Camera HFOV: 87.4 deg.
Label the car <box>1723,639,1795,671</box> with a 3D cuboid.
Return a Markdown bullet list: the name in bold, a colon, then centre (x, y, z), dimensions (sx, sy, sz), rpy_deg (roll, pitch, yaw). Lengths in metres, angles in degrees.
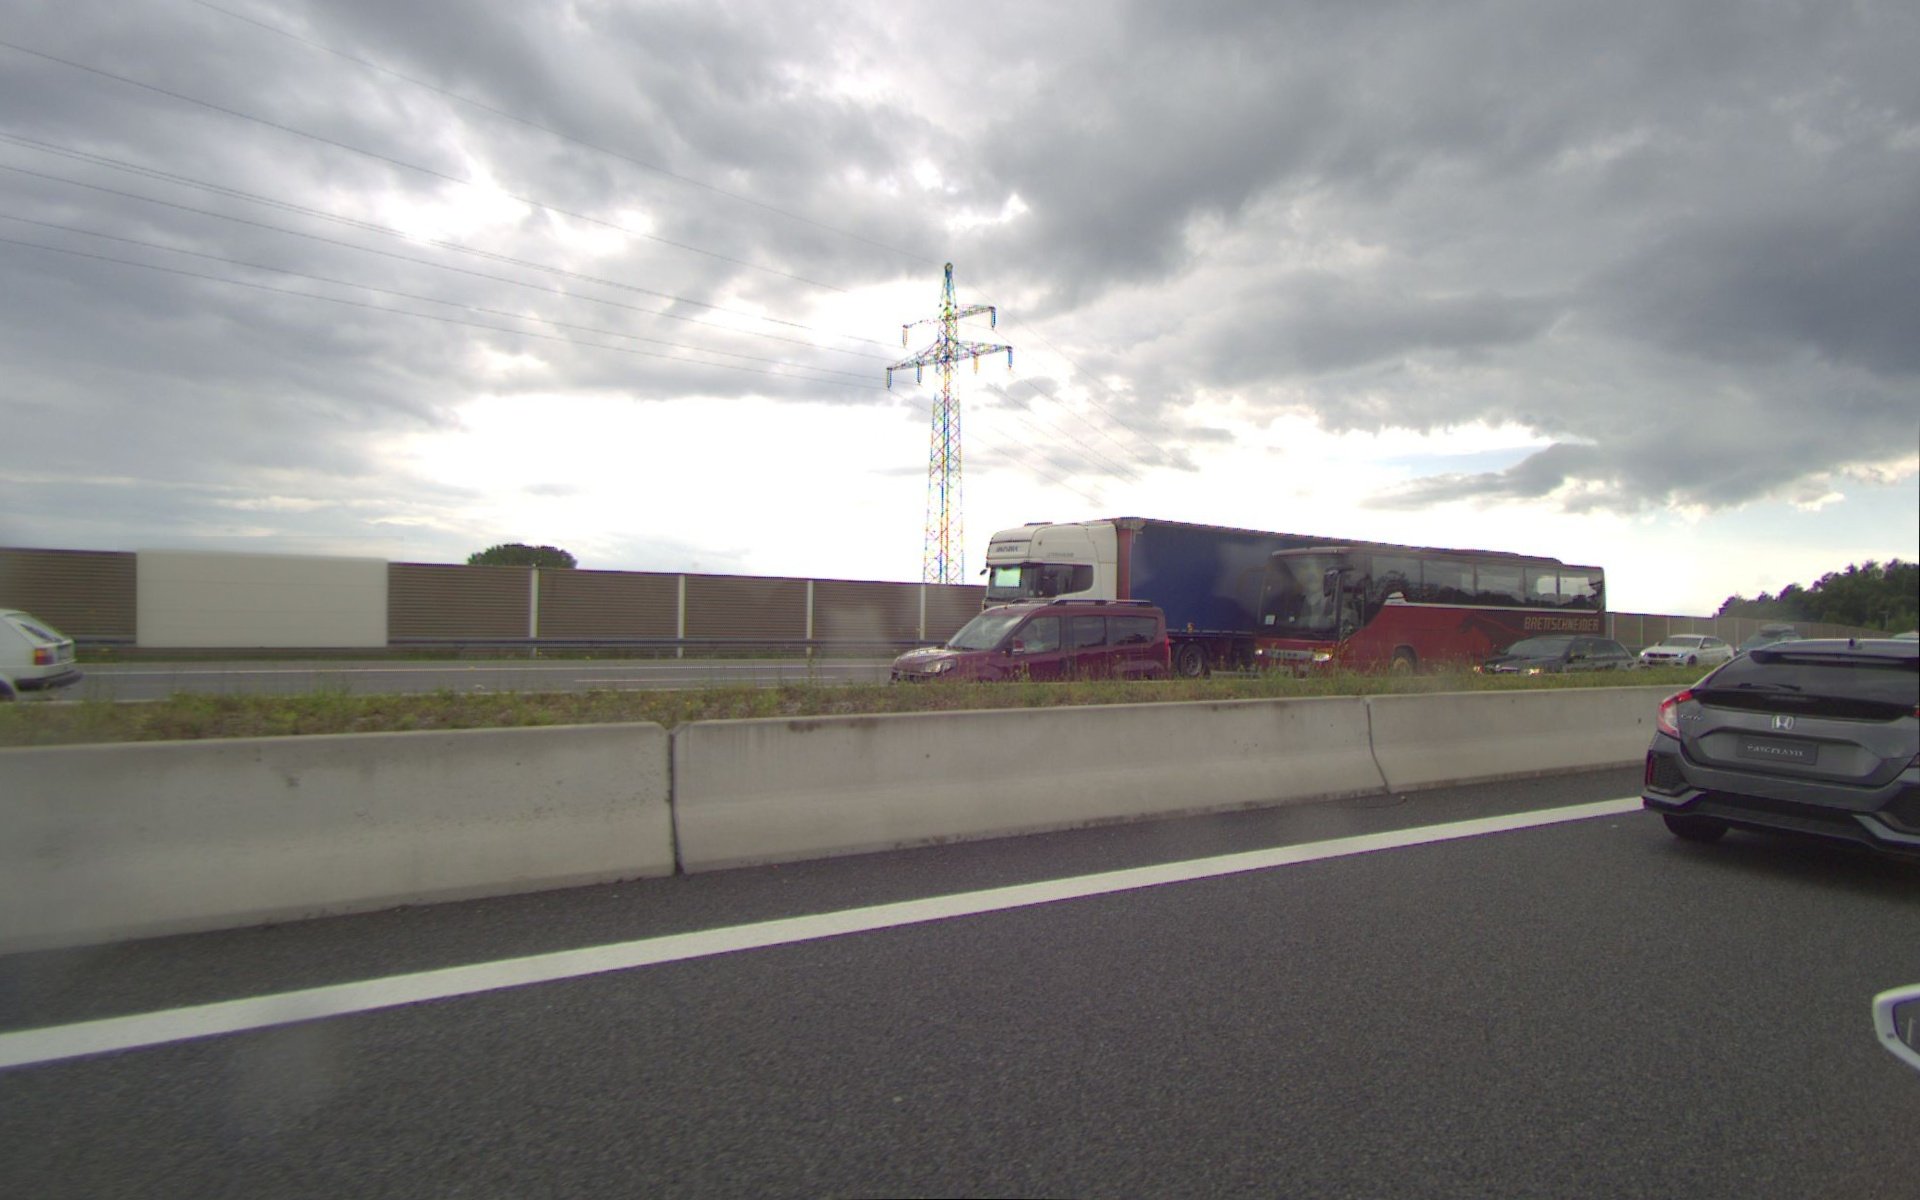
- **car**: centre (43.251, 2.964, 54.333), dimensions (3.910, 1.619, 1.778), rpy_deg (2, 0, -31)

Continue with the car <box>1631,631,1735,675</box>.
- **car**: centre (29.419, 2.129, 40.859), dimensions (4.529, 1.612, 1.778), rpy_deg (2, 0, -31)

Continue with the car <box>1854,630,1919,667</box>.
- **car**: centre (47.899, 2.470, 51.530), dimensions (4.525, 1.763, 1.781), rpy_deg (2, 0, -31)

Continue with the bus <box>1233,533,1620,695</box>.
- **bus**: centre (13.004, 0.443, 27.160), dimensions (12.612, 3.659, 2.875), rpy_deg (2, 0, -31)

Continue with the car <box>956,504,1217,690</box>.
- **car**: centre (3.258, -0.022, 25.550), dimensions (5.973, 4.205, 2.967), rpy_deg (2, 0, -31)

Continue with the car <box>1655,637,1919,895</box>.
- **car**: centre (7.271, 0.993, 7.283), dimensions (5.001, 1.387, 1.752), rpy_deg (1, 0, -31)

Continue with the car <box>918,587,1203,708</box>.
- **car**: centre (1.633, 0.704, 15.888), dimensions (4.247, 1.688, 1.778), rpy_deg (2, 0, -31)

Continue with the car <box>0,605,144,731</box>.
- **car**: centre (-13.061, 0.801, 12.287), dimensions (4.512, 1.474, 1.778), rpy_deg (2, 0, -31)

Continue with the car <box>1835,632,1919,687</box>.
- **car**: centre (29.629, 1.849, 31.794), dimensions (4.164, 1.544, 1.708), rpy_deg (2, 0, -31)

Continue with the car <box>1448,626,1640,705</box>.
- **car**: centre (13.215, 1.425, 22.680), dimensions (4.512, 1.554, 1.778), rpy_deg (2, 0, -31)

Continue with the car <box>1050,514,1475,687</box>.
- **car**: centre (9.293, 0.161, 29.174), dimensions (14.230, 4.179, 2.967), rpy_deg (2, 0, -31)
